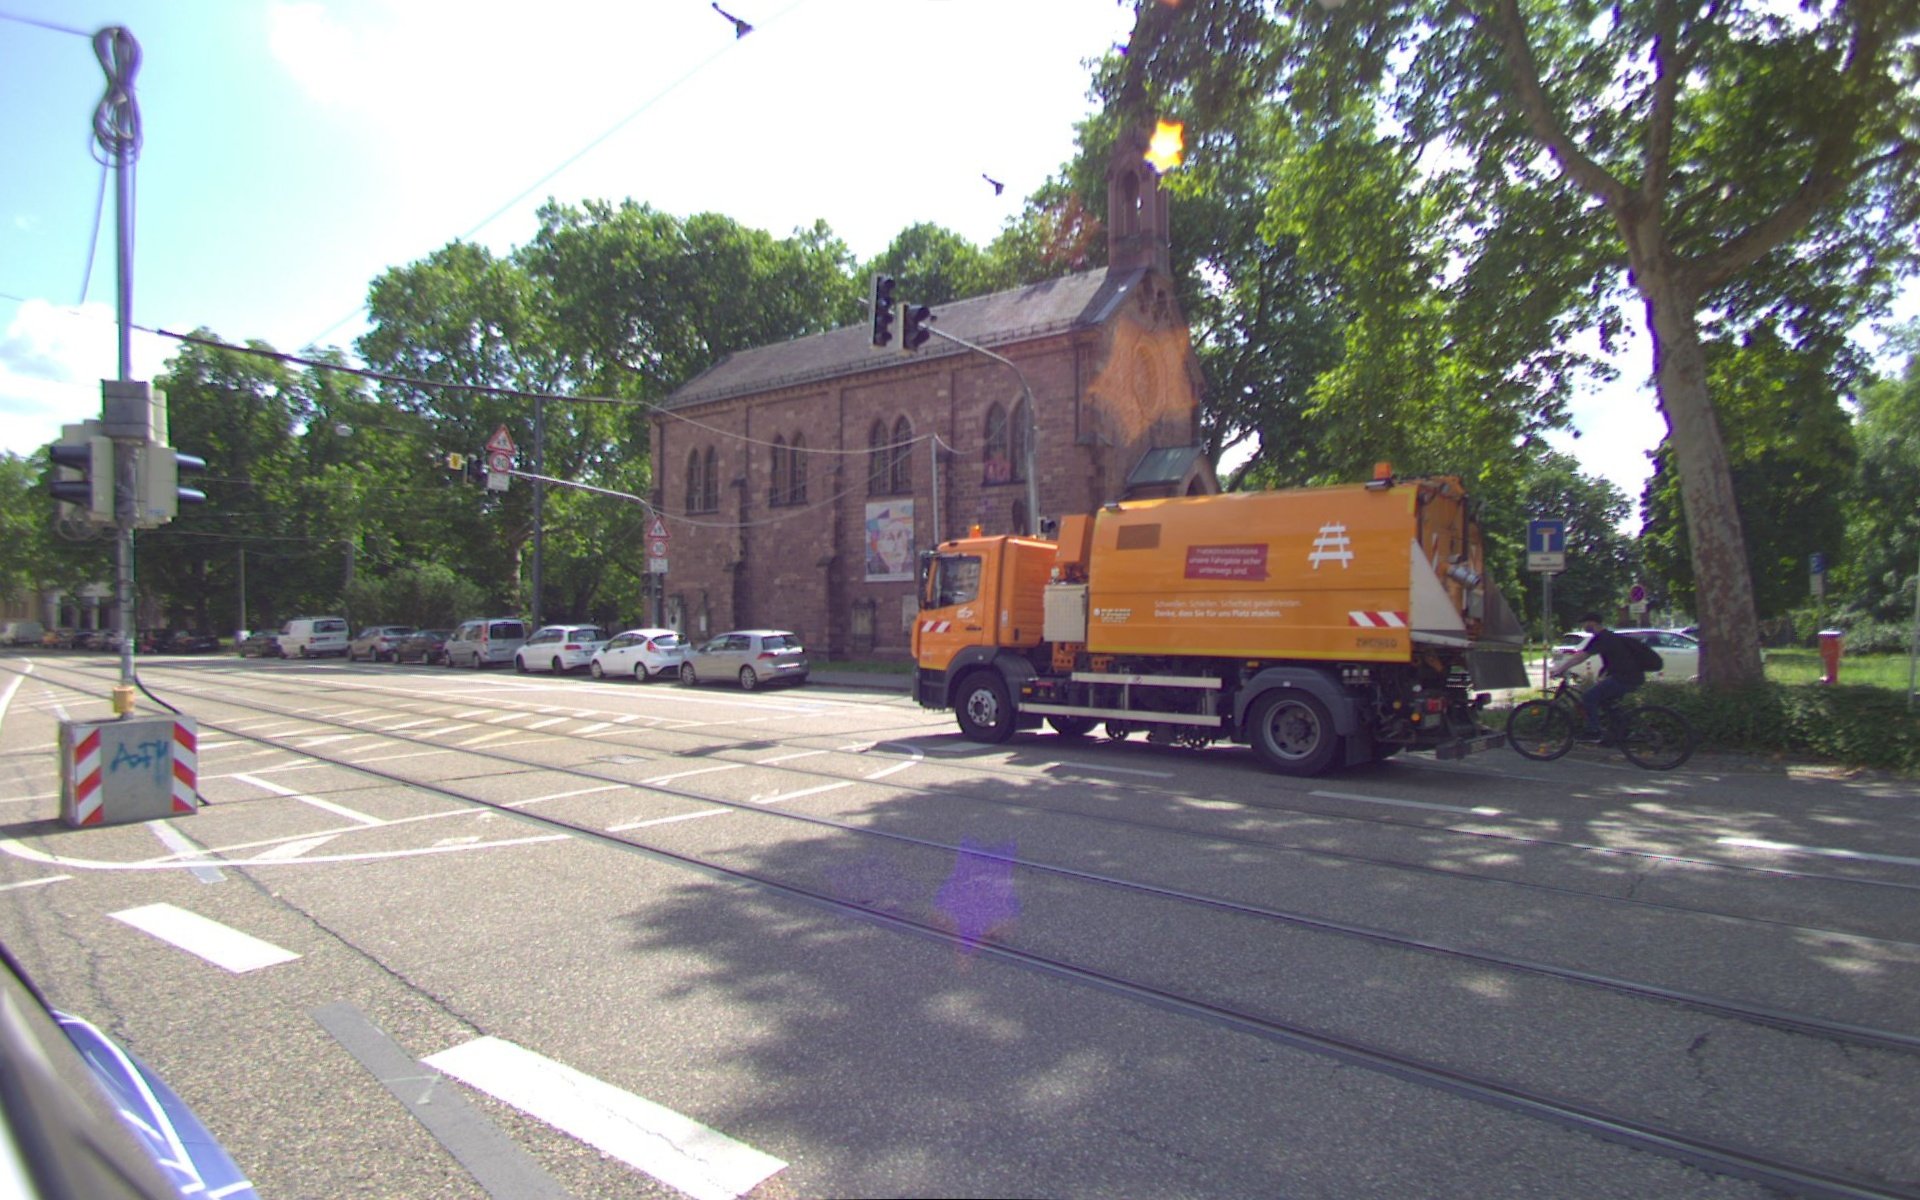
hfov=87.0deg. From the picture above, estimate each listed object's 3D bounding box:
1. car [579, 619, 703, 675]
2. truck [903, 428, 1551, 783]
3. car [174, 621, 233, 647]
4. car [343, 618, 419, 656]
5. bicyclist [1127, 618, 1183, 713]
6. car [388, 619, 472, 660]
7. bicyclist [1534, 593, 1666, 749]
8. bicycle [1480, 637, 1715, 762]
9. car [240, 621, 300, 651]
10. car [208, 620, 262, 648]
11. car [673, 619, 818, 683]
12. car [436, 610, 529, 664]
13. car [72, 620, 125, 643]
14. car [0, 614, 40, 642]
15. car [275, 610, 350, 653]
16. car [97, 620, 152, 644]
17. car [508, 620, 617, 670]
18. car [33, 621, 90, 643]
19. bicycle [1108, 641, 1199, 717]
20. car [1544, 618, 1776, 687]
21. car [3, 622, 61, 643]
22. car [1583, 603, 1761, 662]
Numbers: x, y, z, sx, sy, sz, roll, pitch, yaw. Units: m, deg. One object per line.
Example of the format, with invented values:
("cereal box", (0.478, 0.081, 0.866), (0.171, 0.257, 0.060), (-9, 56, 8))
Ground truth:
("car", (-9.472, 1.331, 29.922), (4.000, 1.508, 1.738), (-1, 0, 43))
("truck", (2.790, 0.128, 12.303), (7.221, 3.130, 2.611), (-1, -3, 42))
("car", (-46.121, 2.036, 61.686), (3.991, 1.508, 1.741), (-1, 0, 36))
("car", (-25.170, 1.579, 43.959), (4.000, 1.508, 1.738), (-1, 0, 43))
("bicyclist", (3.876, 1.280, 20.112), (0.872, 1.798, 0.663), (-2, 1, -44))
("car", (-21.274, 1.528, 40.551), (4.000, 1.508, 1.738), (-1, 0, 43))
("bicyclist", (7.378, 0.791, 11.688), (1.175, 1.699, 0.694), (-1, -2, 41))
("bicycle", (7.332, 1.087, 11.727), (2.217, 1.300, 0.697), (-1, -2, 41))
("car", (-36.515, 1.871, 53.535), (4.000, 1.508, 1.738), (-1, 0, 43))
("car", (-41.606, 1.937, 58.027), (4.000, 1.508, 1.738), (-1, 0, 43))
("car", (-5.688, 1.282, 26.575), (4.000, 1.508, 1.738), (-1, 0, 43))
("car", (-17.597, 1.313, 37.216), (4.000, 1.850, 1.738), (-1, 0, 43))
("car", (-59.437, 2.169, 69.807), (3.987, 1.508, 1.743), (-1, 0, 33))
("car", (-77.068, 2.285, 82.067), (3.960, 2.201, 1.755), (-1, 0, 13))
("car", (-31.911, 1.514, 49.873), (4.081, 2.019, 1.968), (-1, 0, 40))
("car", (-55.677, 2.120, 67.399), (3.988, 1.508, 1.743), (-1, 0, 33))
("car", (-13.079, 1.425, 33.189), (4.000, 1.508, 1.738), (-1, 0, 43))
("car", (-65.497, 2.333, 73.745), (3.978, 1.508, 1.747), (-1, 0, 26))
("bicycle", (3.874, 1.544, 20.112), (2.057, 1.299, 0.672), (-3, 1, -43))
("car", (17.301, 1.259, 25.239), (4.364, 1.620, 1.754), (0, -1, 12))
("car", (-69.428, 2.411, 75.727), (3.975, 1.508, 1.748), (-1, 0, 24))
("car", (21.251, 0.948, 30.340), (3.953, 1.706, 1.757), (0, -1, 8))
